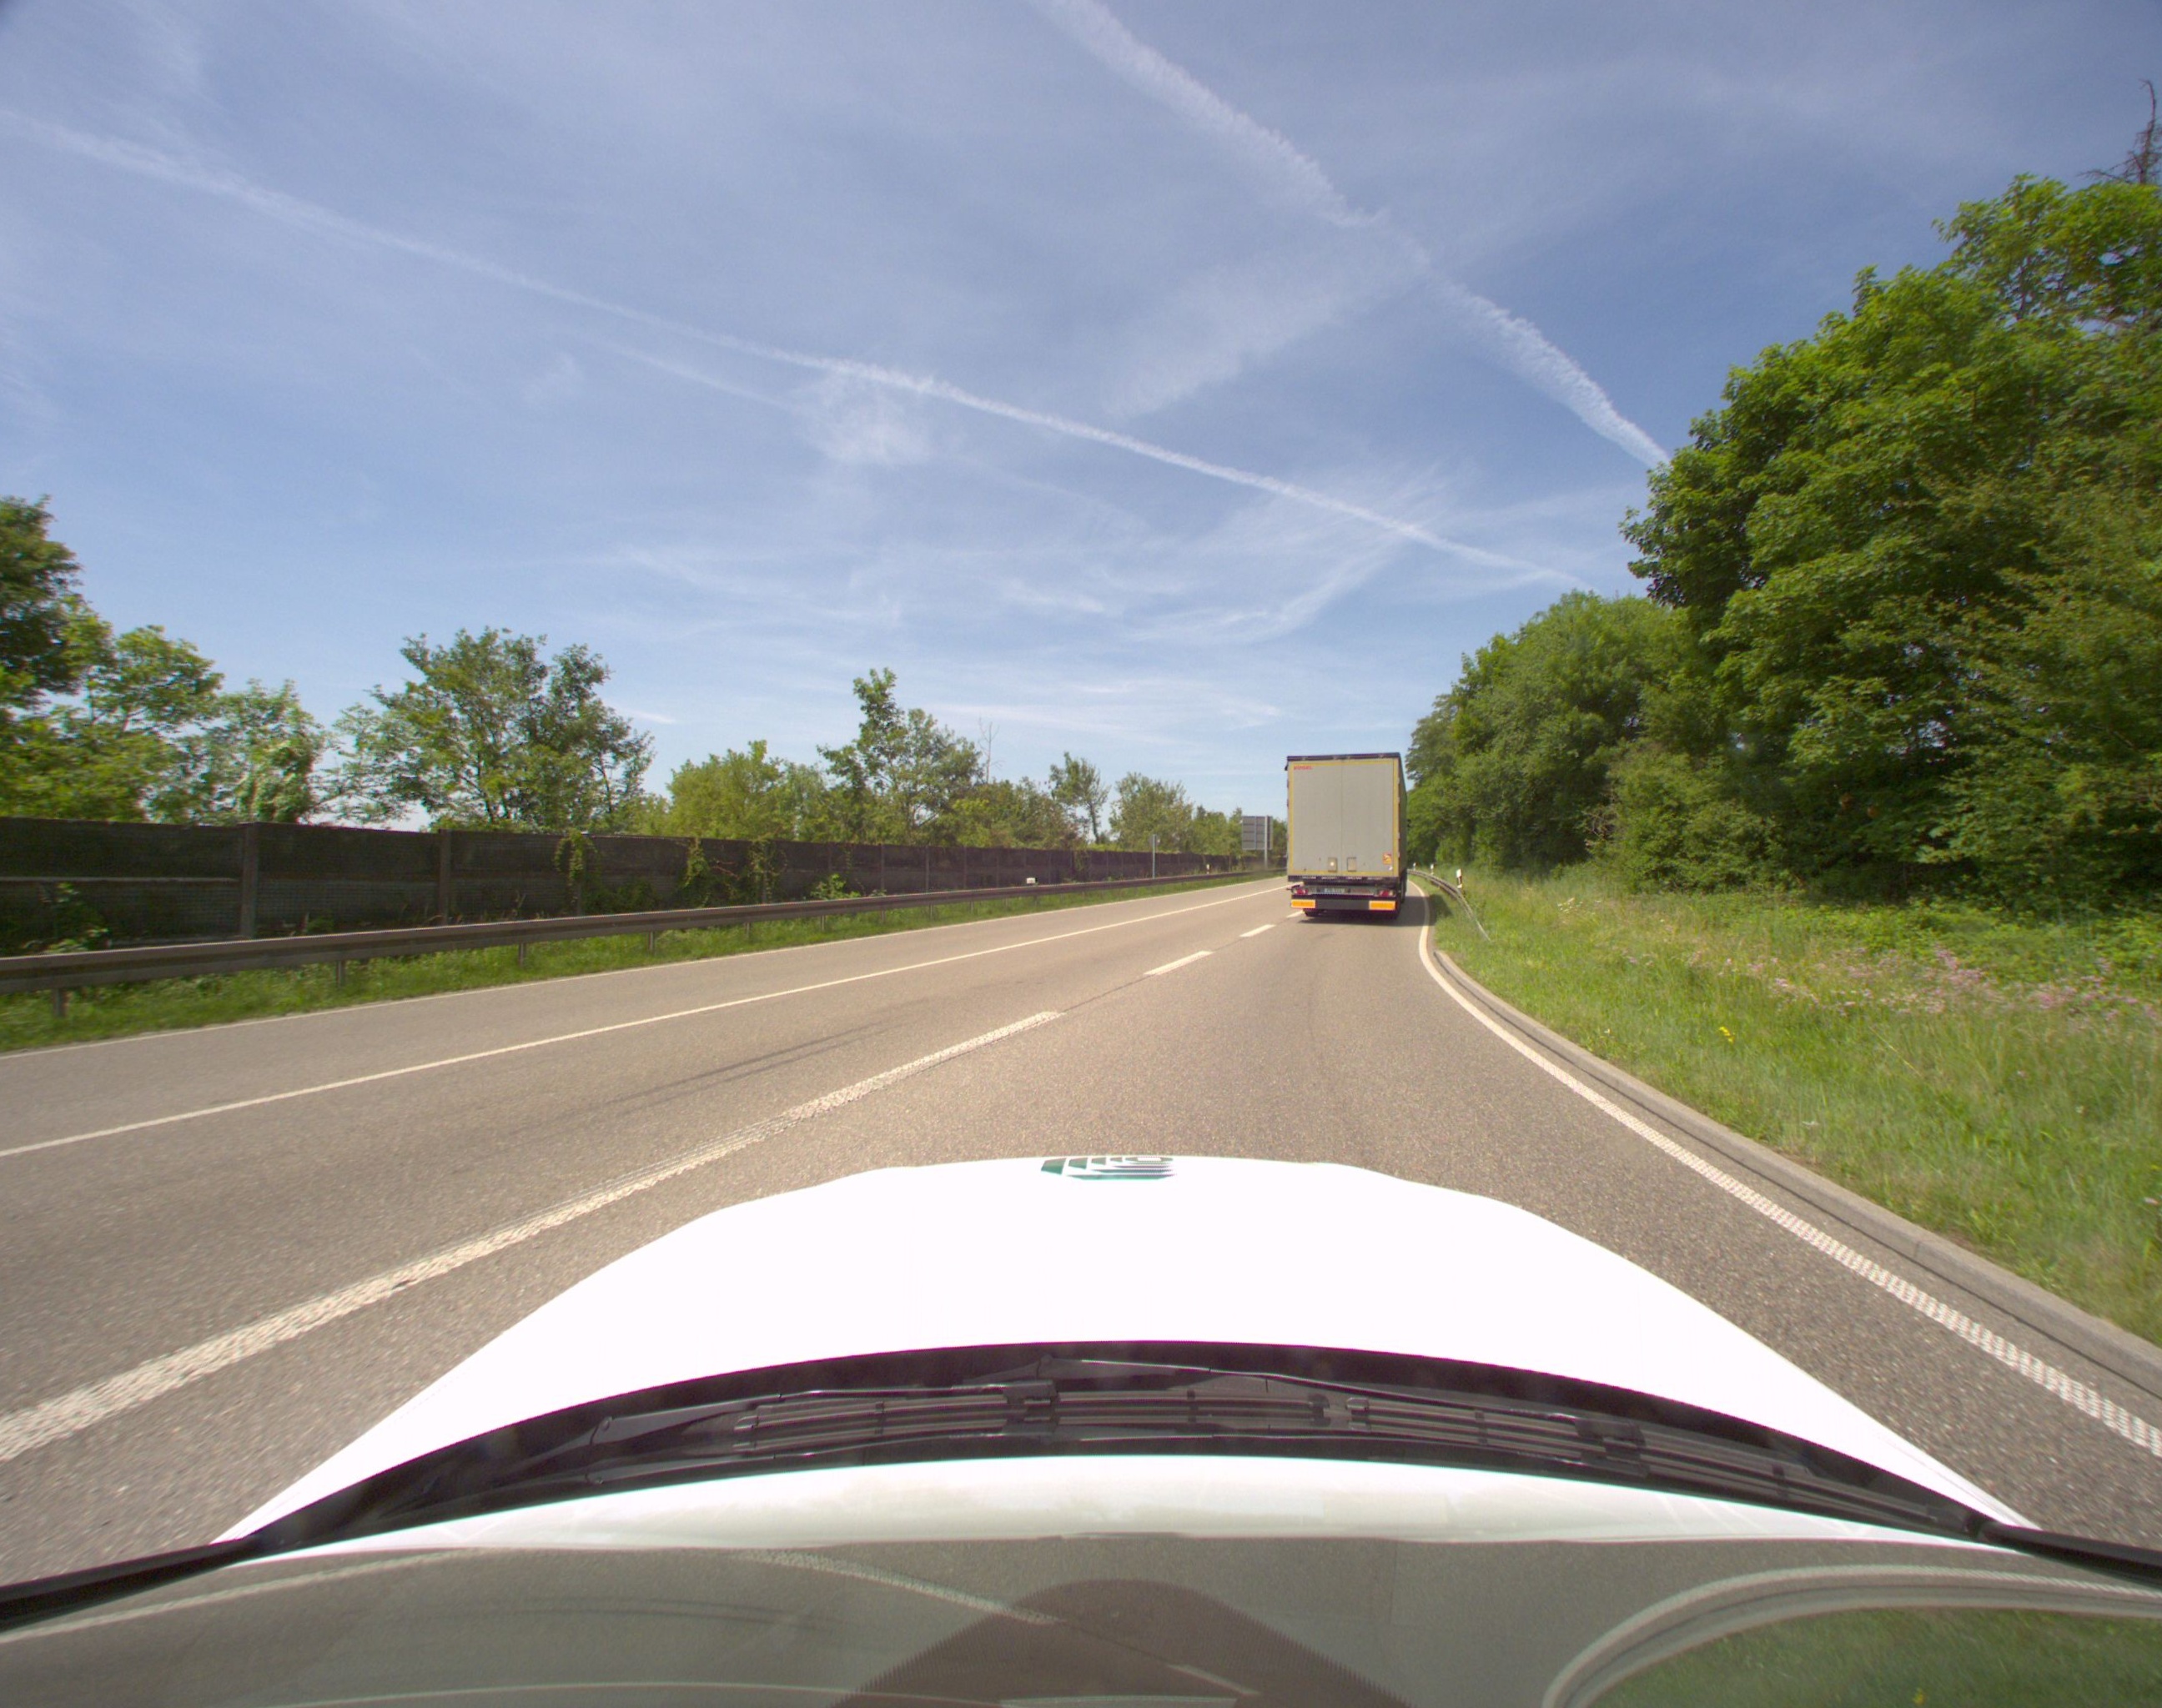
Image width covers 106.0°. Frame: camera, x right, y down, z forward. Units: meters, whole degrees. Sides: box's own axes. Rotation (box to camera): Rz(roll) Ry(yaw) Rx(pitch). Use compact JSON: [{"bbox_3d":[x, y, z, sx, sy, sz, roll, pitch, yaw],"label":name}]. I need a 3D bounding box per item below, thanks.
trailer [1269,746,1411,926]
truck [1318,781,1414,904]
[{"bbox_3d":[8.469,-0.325,25.062,3.000,4.035,13.423,0,-1,23],"label":"trailer"},{"bbox_3d":[11.305,-0.346,31.828,3.125,4.225,7.160,0,-1,23],"label":"truck"}]
